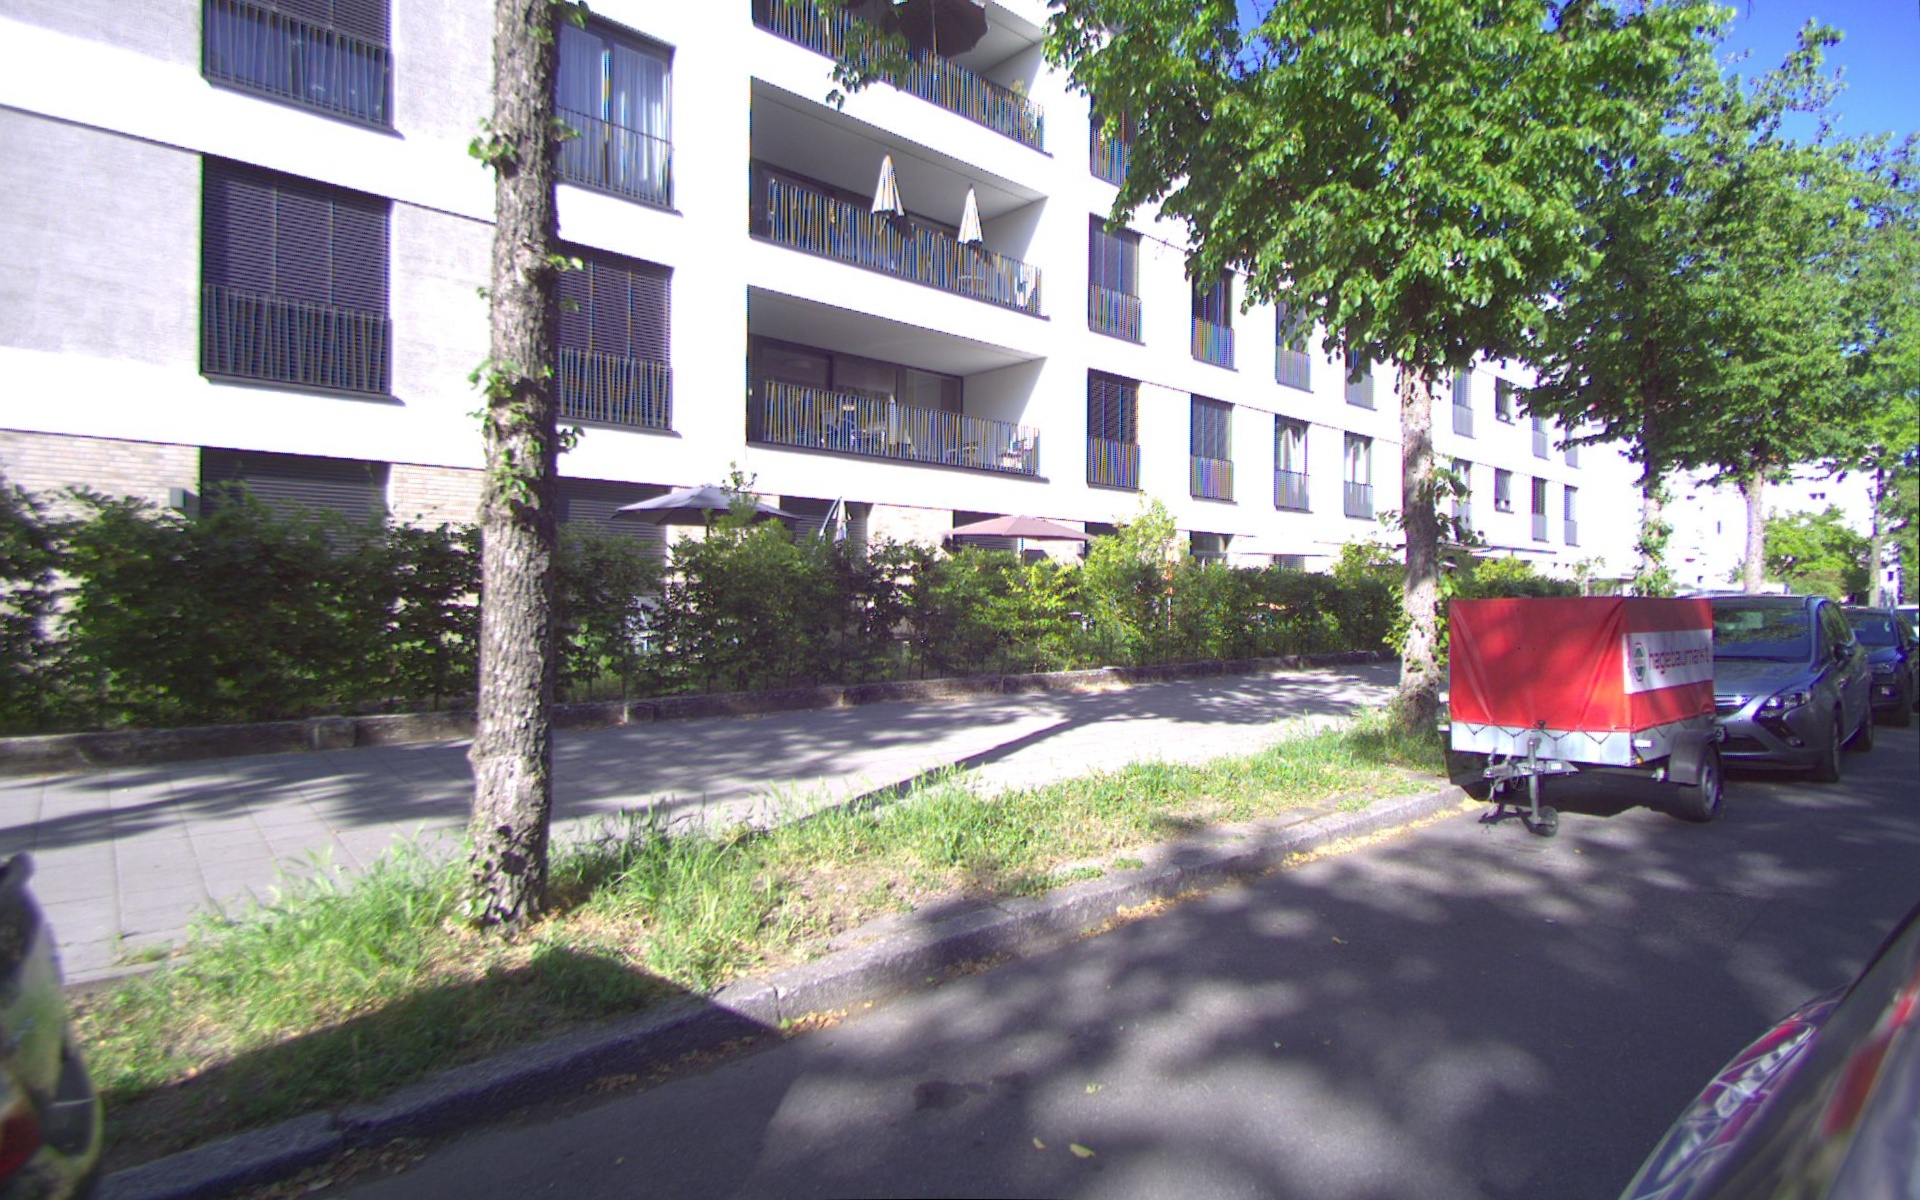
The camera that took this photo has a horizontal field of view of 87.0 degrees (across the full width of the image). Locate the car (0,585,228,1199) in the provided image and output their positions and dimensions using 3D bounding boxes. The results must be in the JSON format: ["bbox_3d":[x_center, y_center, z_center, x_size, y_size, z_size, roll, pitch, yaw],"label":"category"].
[{"bbox_3d":[-2.965,0.738,0.456,4.109,1.469,1.671,0,-1,-43],"label":"car"}]

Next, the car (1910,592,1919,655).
[{"bbox_3d":[27.468,0.619,27.469,4.775,1.668,1.901,0,0,-40],"label":"car"}]

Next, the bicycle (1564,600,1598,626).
[{"bbox_3d":[22.089,0.465,35.989,1.581,0.906,0.564,0,0,-41],"label":"bicycle"}]

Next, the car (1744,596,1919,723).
[{"bbox_3d":[12.662,0.715,14.304,4.269,1.536,1.721,0,0,-41],"label":"car"}]

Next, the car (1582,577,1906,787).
[{"bbox_3d":[8.112,0.668,10.287,4.737,1.664,1.794,0,-2,-43],"label":"car"}]

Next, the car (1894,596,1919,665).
[{"bbox_3d":[23.173,0.677,23.736,1.781,1.537,4.613,0,0,44],"label":"car"}]

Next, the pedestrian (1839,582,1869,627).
[{"bbox_3d":[41.905,0.209,47.427,0.988,2.039,0.907,0,1,-41],"label":"pedestrian"}]

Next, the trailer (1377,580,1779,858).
[{"bbox_3d":[4.626,0.701,7.448,3.135,1.599,1.577,0,-2,-40],"label":"trailer"}]
